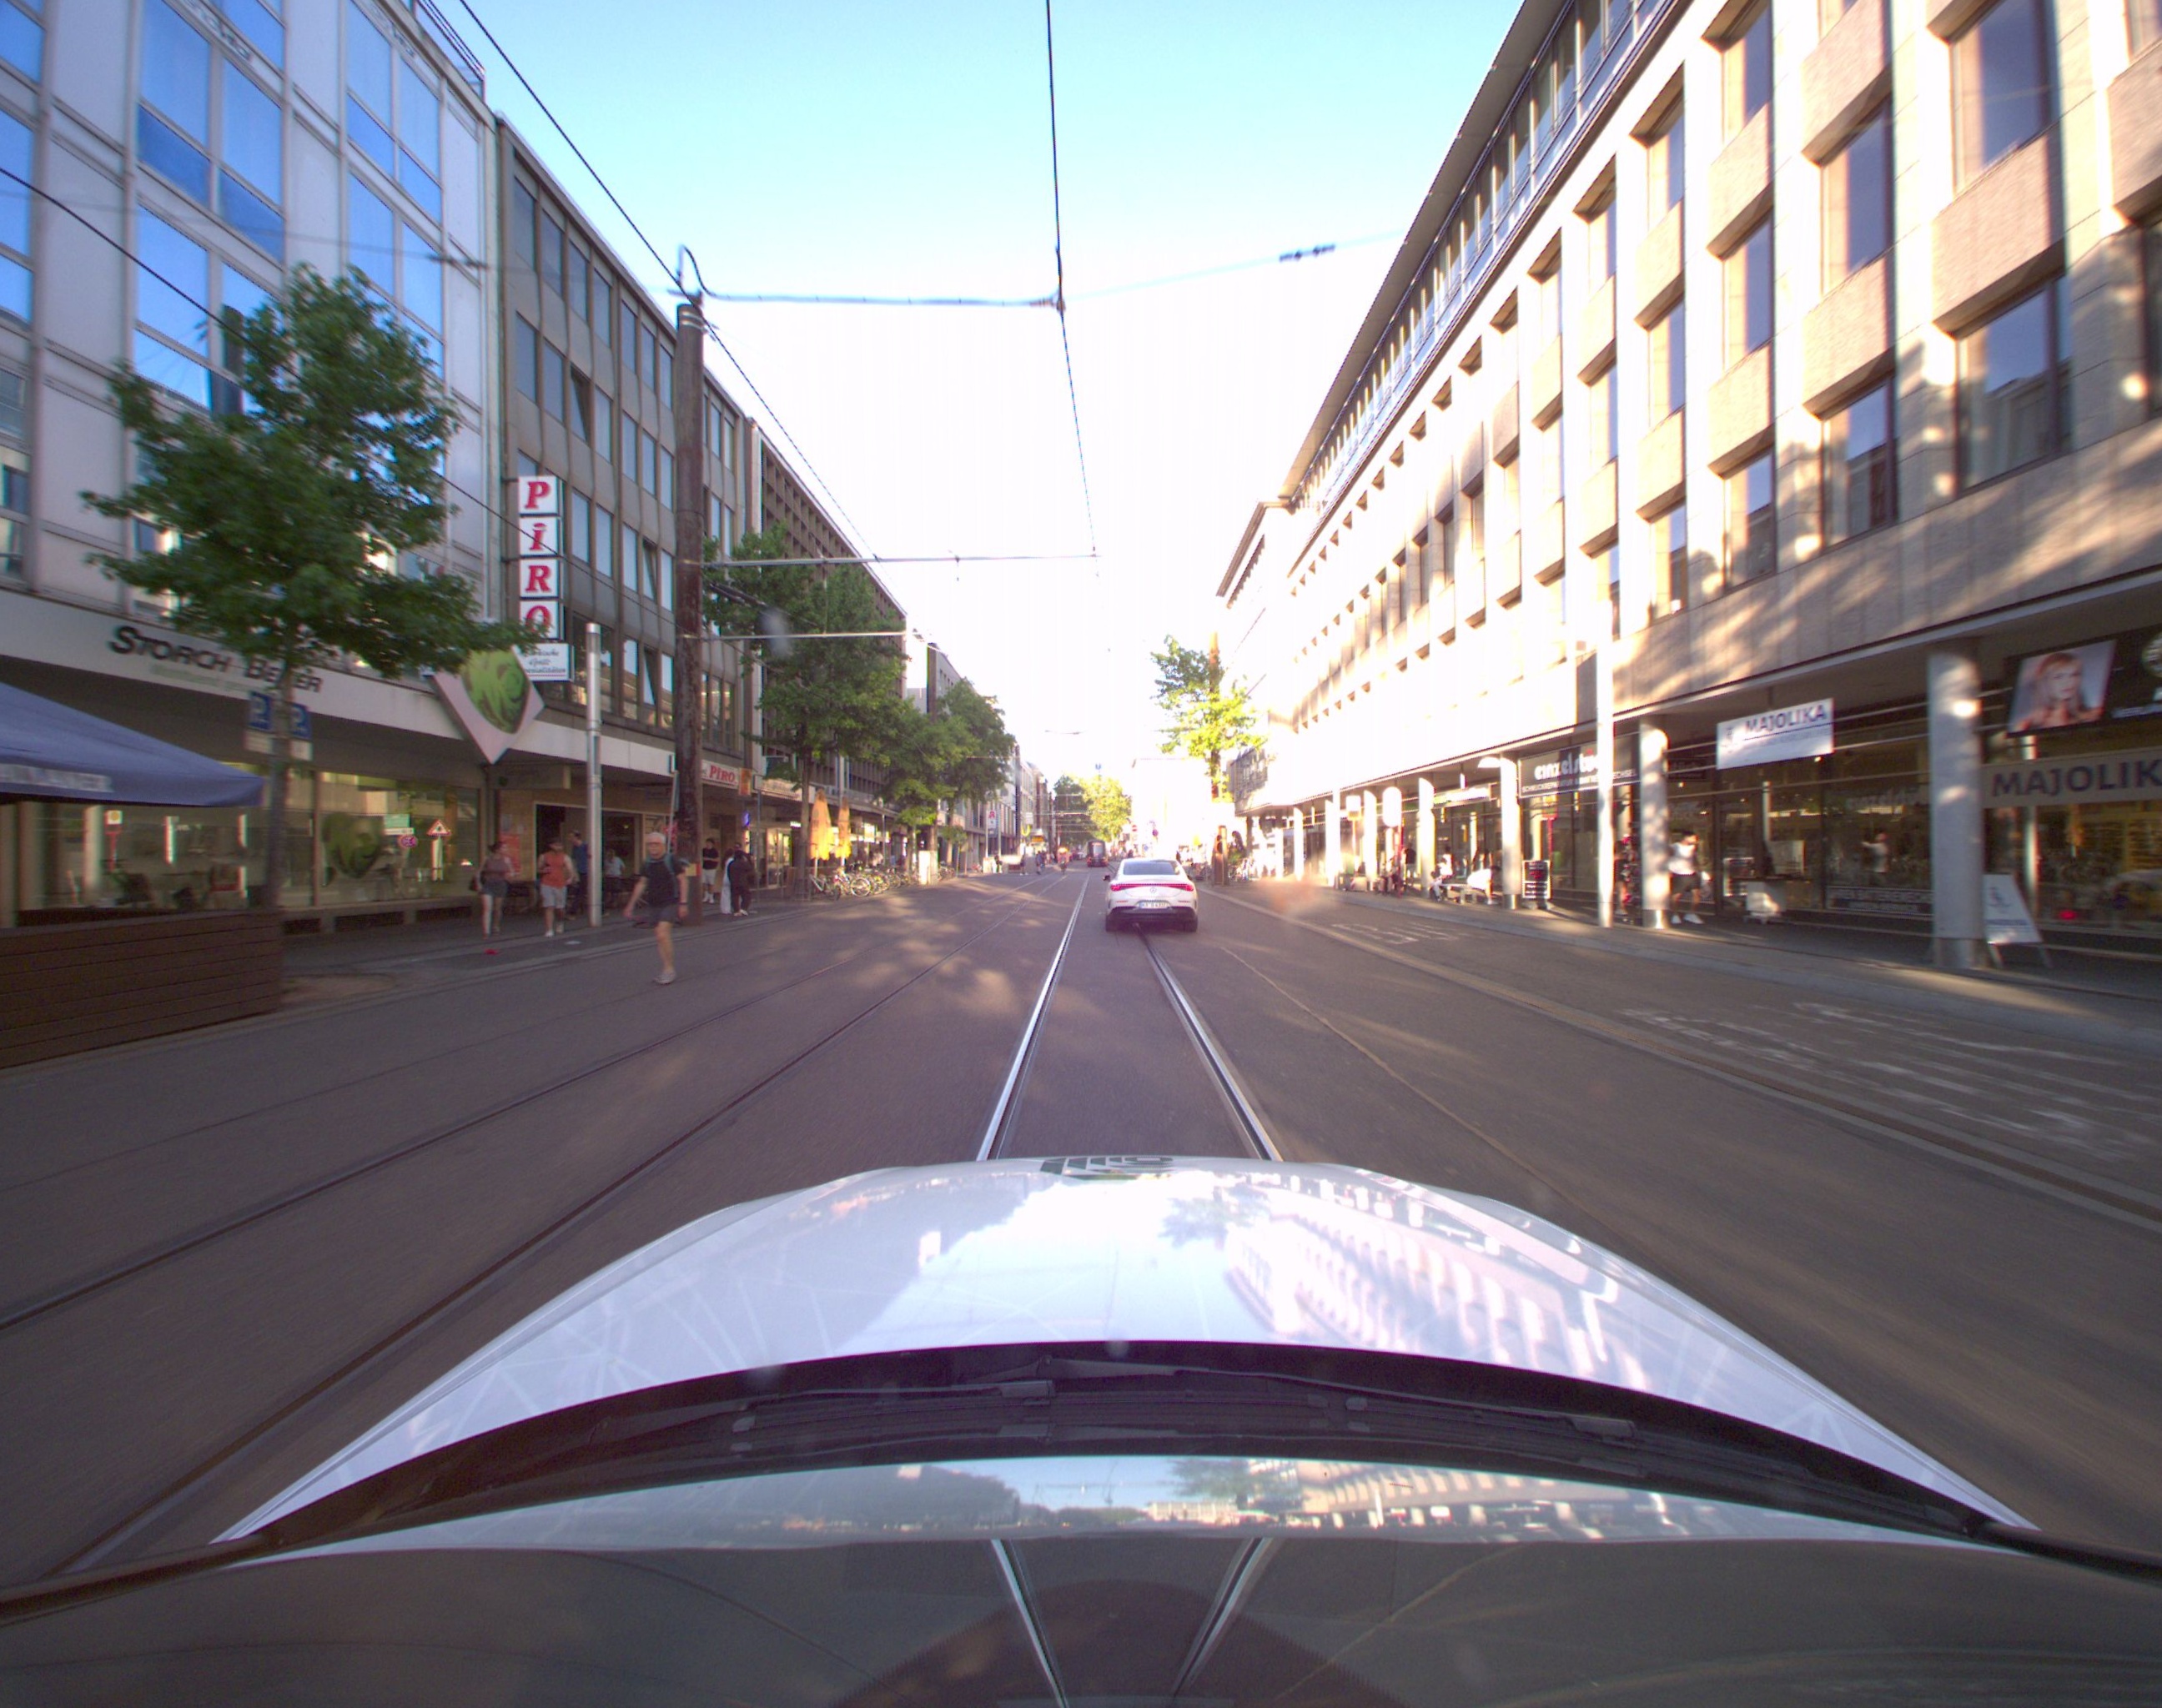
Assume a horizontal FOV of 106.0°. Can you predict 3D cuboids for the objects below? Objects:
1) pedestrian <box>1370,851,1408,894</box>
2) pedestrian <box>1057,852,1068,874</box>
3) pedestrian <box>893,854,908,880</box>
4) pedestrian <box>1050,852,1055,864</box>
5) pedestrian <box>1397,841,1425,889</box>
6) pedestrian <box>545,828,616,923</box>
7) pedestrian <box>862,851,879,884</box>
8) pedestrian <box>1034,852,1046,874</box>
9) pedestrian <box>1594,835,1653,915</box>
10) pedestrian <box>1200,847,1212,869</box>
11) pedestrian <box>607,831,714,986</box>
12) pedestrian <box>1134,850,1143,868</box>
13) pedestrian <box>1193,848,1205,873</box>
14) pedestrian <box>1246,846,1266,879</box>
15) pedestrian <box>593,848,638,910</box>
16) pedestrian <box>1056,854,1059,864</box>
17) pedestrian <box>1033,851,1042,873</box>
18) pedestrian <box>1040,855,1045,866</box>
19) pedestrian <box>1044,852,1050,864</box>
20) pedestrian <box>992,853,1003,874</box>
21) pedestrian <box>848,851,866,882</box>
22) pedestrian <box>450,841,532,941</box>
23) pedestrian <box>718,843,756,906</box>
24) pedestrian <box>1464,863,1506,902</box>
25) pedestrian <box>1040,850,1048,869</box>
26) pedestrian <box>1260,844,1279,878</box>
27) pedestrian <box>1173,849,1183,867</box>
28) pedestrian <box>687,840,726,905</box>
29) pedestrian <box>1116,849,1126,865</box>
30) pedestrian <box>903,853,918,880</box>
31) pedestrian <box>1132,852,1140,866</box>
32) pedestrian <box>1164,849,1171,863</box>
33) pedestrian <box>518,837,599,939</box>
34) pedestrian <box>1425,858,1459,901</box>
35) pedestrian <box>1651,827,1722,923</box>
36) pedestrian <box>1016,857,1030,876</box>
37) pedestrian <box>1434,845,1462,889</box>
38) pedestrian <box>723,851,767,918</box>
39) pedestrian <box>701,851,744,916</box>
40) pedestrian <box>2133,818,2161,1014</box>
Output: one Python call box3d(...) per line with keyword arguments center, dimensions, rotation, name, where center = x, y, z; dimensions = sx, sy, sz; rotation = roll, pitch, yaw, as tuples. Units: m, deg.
box3d(center=(10.059, 0.595, 26.602), dimensions=(0.836, 1.377, 0.772), rotation=(0, 0, -22), name="pedestrian")
box3d(center=(-1.507, 0.736, 66.406), dimensions=(0.797, 1.782, 0.849), rotation=(1, 0, 0), name="pedestrian")
box3d(center=(-12.482, 0.875, 56.313), dimensions=(0.813, 1.761, 0.779), rotation=(-1, 0, -1), name="pedestrian")
box3d(center=(-3.692, 0.530, 104.791), dimensions=(0.658, 1.599, 0.573), rotation=(-1, 0, 0), name="pedestrian")
box3d(center=(12.353, 0.405, 30.539), dimensions=(0.713, 1.741, 0.835), rotation=(-1, 0, 1), name="pedestrian")
box3d(center=(-10.591, 0.436, 17.275), dimensions=(0.798, 1.923, 1.070), rotation=(2, 0, -2), name="pedestrian")
box3d(center=(-10.640, 0.699, 41.224), dimensions=(0.713, 1.639, 0.683), rotation=(-1, 0, -5), name="pedestrian")
box3d(center=(-3.233, 0.711, 64.201), dimensions=(0.901, 1.698, 0.849), rotation=(-1, 0, 1), name="pedestrian")
box3d(center=(11.871, 0.444, 17.848), dimensions=(0.741, 1.700, 0.858), rotation=(0, 0, 1), name="pedestrian")
box3d(center=(10.546, 0.356, 68.523), dimensions=(0.838, 1.785, 0.804), rotation=(-2, 0, 0), name="pedestrian")
box3d(center=(-5.111, 0.642, 9.948), dimensions=(0.838, 1.801, 0.791), rotation=(1, 0, 2), name="pedestrian")
box3d(center=(5.564, 0.499, 78.576), dimensions=(0.744, 1.698, 0.840), rotation=(-1, 0, -2), name="pedestrian")
box3d(center=(8.899, 0.477, 61.337), dimensions=(0.746, 1.785, 0.767), rotation=(-2, 0, 0), name="pedestrian")
box3d(center=(9.829, 0.469, 45.735), dimensions=(0.897, 1.744, 0.689), rotation=(-4, 0, 0), name="pedestrian")
box3d(center=(-11.712, 0.619, 20.511), dimensions=(0.620, 1.526, 0.809), rotation=(2, 0, 1), name="pedestrian")
box3d(center=(-3.815, 0.832, 132.090), dimensions=(0.412, 1.630, 0.606), rotation=(-1, 0, 1), name="pedestrian")
box3d(center=(-3.875, 0.694, 71.959), dimensions=(0.534, 1.929, 0.576), rotation=(-1, 0, 45), name="pedestrian")
box3d(center=(-5.282, 0.878, 112.644), dimensions=(0.658, 1.599, 0.573), rotation=(-1, 0, 0), name="pedestrian")
box3d(center=(-4.403, 0.535, 104.719), dimensions=(0.658, 1.599, 0.573), rotation=(-1, 0, 0), name="pedestrian")
box3d(center=(-6.952, 0.794, 67.953), dimensions=(0.835, 1.717, 0.785), rotation=(-1, 0, -1), name="pedestrian")
box3d(center=(-11.363, 0.619, 41.309), dimensions=(0.713, 1.547, 0.683), rotation=(-1, 0, -5), name="pedestrian")
box3d(center=(-10.047, 0.603, 13.889), dimensions=(0.841, 1.638, 0.766), rotation=(1, 0, 21), name="pedestrian")
box3d(center=(-9.797, 0.561, 23.243), dimensions=(0.620, 1.747, 0.934), rotation=(2, 0, 1), name="pedestrian")
box3d(center=(10.747, 0.751, 21.683), dimensions=(0.832, 1.031, 0.697), rotation=(0, 0, 5), name="pedestrian")
box3d(center=(-3.508, 0.505, 77.021), dimensions=(0.544, 1.760, 0.524), rotation=(-1, 0, 29), name="pedestrian")
box3d(center=(10.505, 0.393, 45.381), dimensions=(0.699, 1.812, 1.033), rotation=(-4, 0, 0), name="pedestrian")
box3d(center=(8.956, 0.391, 75.180), dimensions=(0.834, 1.662, 0.786), rotation=(-1, 0, 3), name="pedestrian")
box3d(center=(-10.651, 0.512, 23.182), dimensions=(0.620, 1.804, 0.934), rotation=(2, 0, 1), name="pedestrian")
box3d(center=(4.525, 0.382, 92.546), dimensions=(0.957, 1.785, 0.804), rotation=(-2, 0, 0), name="pedestrian")
box3d(center=(-11.629, 0.839, 55.387), dimensions=(0.729, 1.761, 0.810), rotation=(-1, 0, -34), name="pedestrian")
box3d(center=(6.996, 0.635, 103.238), dimensions=(0.957, 1.785, 0.804), rotation=(-2, 0, 0), name="pedestrian")
box3d(center=(11.291, 0.278, 106.255), dimensions=(0.724, 1.785, 0.707), rotation=(-1, 0, 0), name="pedestrian")
box3d(center=(-9.260, 0.585, 14.452), dimensions=(0.842, 1.741, 0.839), rotation=(1, 0, 21), name="pedestrian")
box3d(center=(10.286, 0.706, 23.202), dimensions=(0.663, 1.198, 0.786), rotation=(0, 0, 6), name="pedestrian")
box3d(center=(11.673, 0.390, 15.733), dimensions=(0.741, 1.793, 0.858), rotation=(0, 0, 1), name="pedestrian")
box3d(center=(-4.526, 0.959, 63.366), dimensions=(0.952, 1.496, 0.944), rotation=(-1, 0, 1), name="pedestrian")
box3d(center=(13.141, 0.451, 29.193), dimensions=(0.640, 1.542, 0.796), rotation=(-1, 0, 1), name="pedestrian")
box3d(center=(-7.960, 0.704, 19.338), dimensions=(0.620, 1.550, 0.852), rotation=(2, 0, 1), name="pedestrian")
box3d(center=(-8.690, 0.701, 19.780), dimensions=(0.620, 1.509, 0.833), rotation=(2, 0, 1), name="pedestrian")
box3d(center=(8.986, 0.500, 6.376), dimensions=(0.679, 1.572, 0.632), rotation=(1, 0, 1), name="pedestrian")
